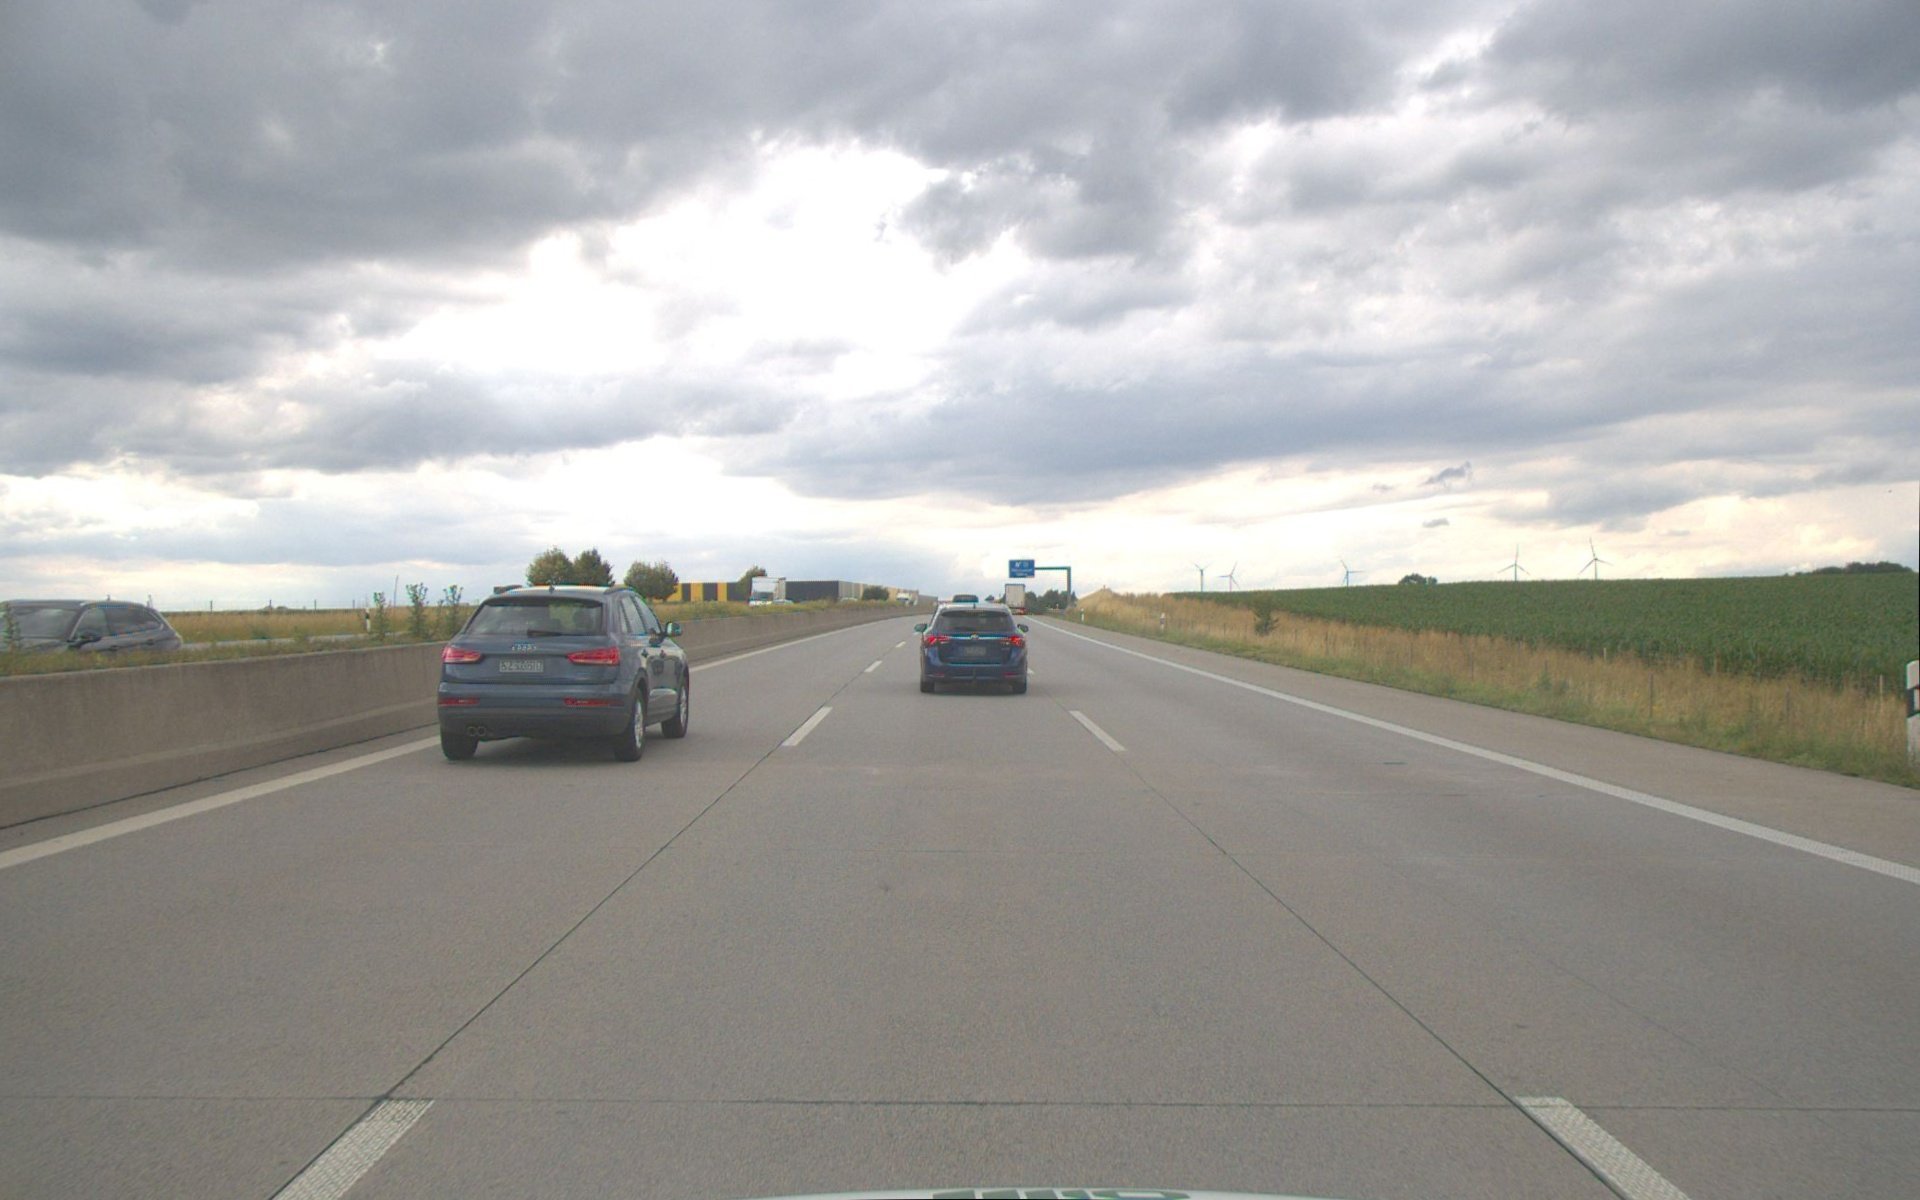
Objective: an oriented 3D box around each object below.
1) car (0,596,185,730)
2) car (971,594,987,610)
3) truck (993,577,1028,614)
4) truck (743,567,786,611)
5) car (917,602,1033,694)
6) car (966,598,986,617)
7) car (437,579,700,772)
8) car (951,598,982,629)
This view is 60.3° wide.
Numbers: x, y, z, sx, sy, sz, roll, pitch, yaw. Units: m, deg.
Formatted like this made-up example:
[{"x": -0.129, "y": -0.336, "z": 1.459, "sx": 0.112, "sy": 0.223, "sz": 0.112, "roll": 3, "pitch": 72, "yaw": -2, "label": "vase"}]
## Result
[{"x": -11.800, "y": 0.758, "z": 21.490, "sx": 1.678, "sy": 1.583, "sz": 3.768, "roll": 1, "pitch": -1, "yaw": -1, "label": "car"}, {"x": 2.542, "y": 0.297, "z": 226.014, "sx": 1.954, "sy": 2.049, "sz": 3.997, "roll": 1, "pitch": -1, "yaw": -3, "label": "car"}, {"x": 6.784, "y": -0.546, "z": 223.950, "sx": 3.871, "sy": 4.839, "sz": 12.068, "roll": 1, "pitch": -1, "yaw": -3, "label": "truck"}, {"x": -15.592, "y": -0.830, "z": 132.110, "sx": 2.309, "sy": 3.386, "sz": 7.297, "roll": 1, "pitch": -1, "yaw": 1, "label": "truck"}, {"x": 0.184, "y": 0.767, "z": 27.908, "sx": 1.739, "sy": 1.438, "sz": 3.998, "roll": 0, "pitch": 0, "yaw": -3, "label": "car"}, {"x": 1.708, "y": 0.802, "z": 177.183, "sx": 1.953, "sy": 2.049, "sz": 3.999, "roll": 2, "pitch": 0, "yaw": -1, "label": "car"}, {"x": -3.741, "y": 0.647, "z": 16.683, "sx": 1.757, "sy": 1.624, "sz": 5.152, "roll": 1, "pitch": 0, "yaw": -4, "label": "car"}, {"x": 0.425, "y": 0.903, "z": 111.869, "sx": 1.953, "sy": 2.049, "sz": 3.998, "roll": 1, "pitch": -1, "yaw": -2, "label": "car"}]
